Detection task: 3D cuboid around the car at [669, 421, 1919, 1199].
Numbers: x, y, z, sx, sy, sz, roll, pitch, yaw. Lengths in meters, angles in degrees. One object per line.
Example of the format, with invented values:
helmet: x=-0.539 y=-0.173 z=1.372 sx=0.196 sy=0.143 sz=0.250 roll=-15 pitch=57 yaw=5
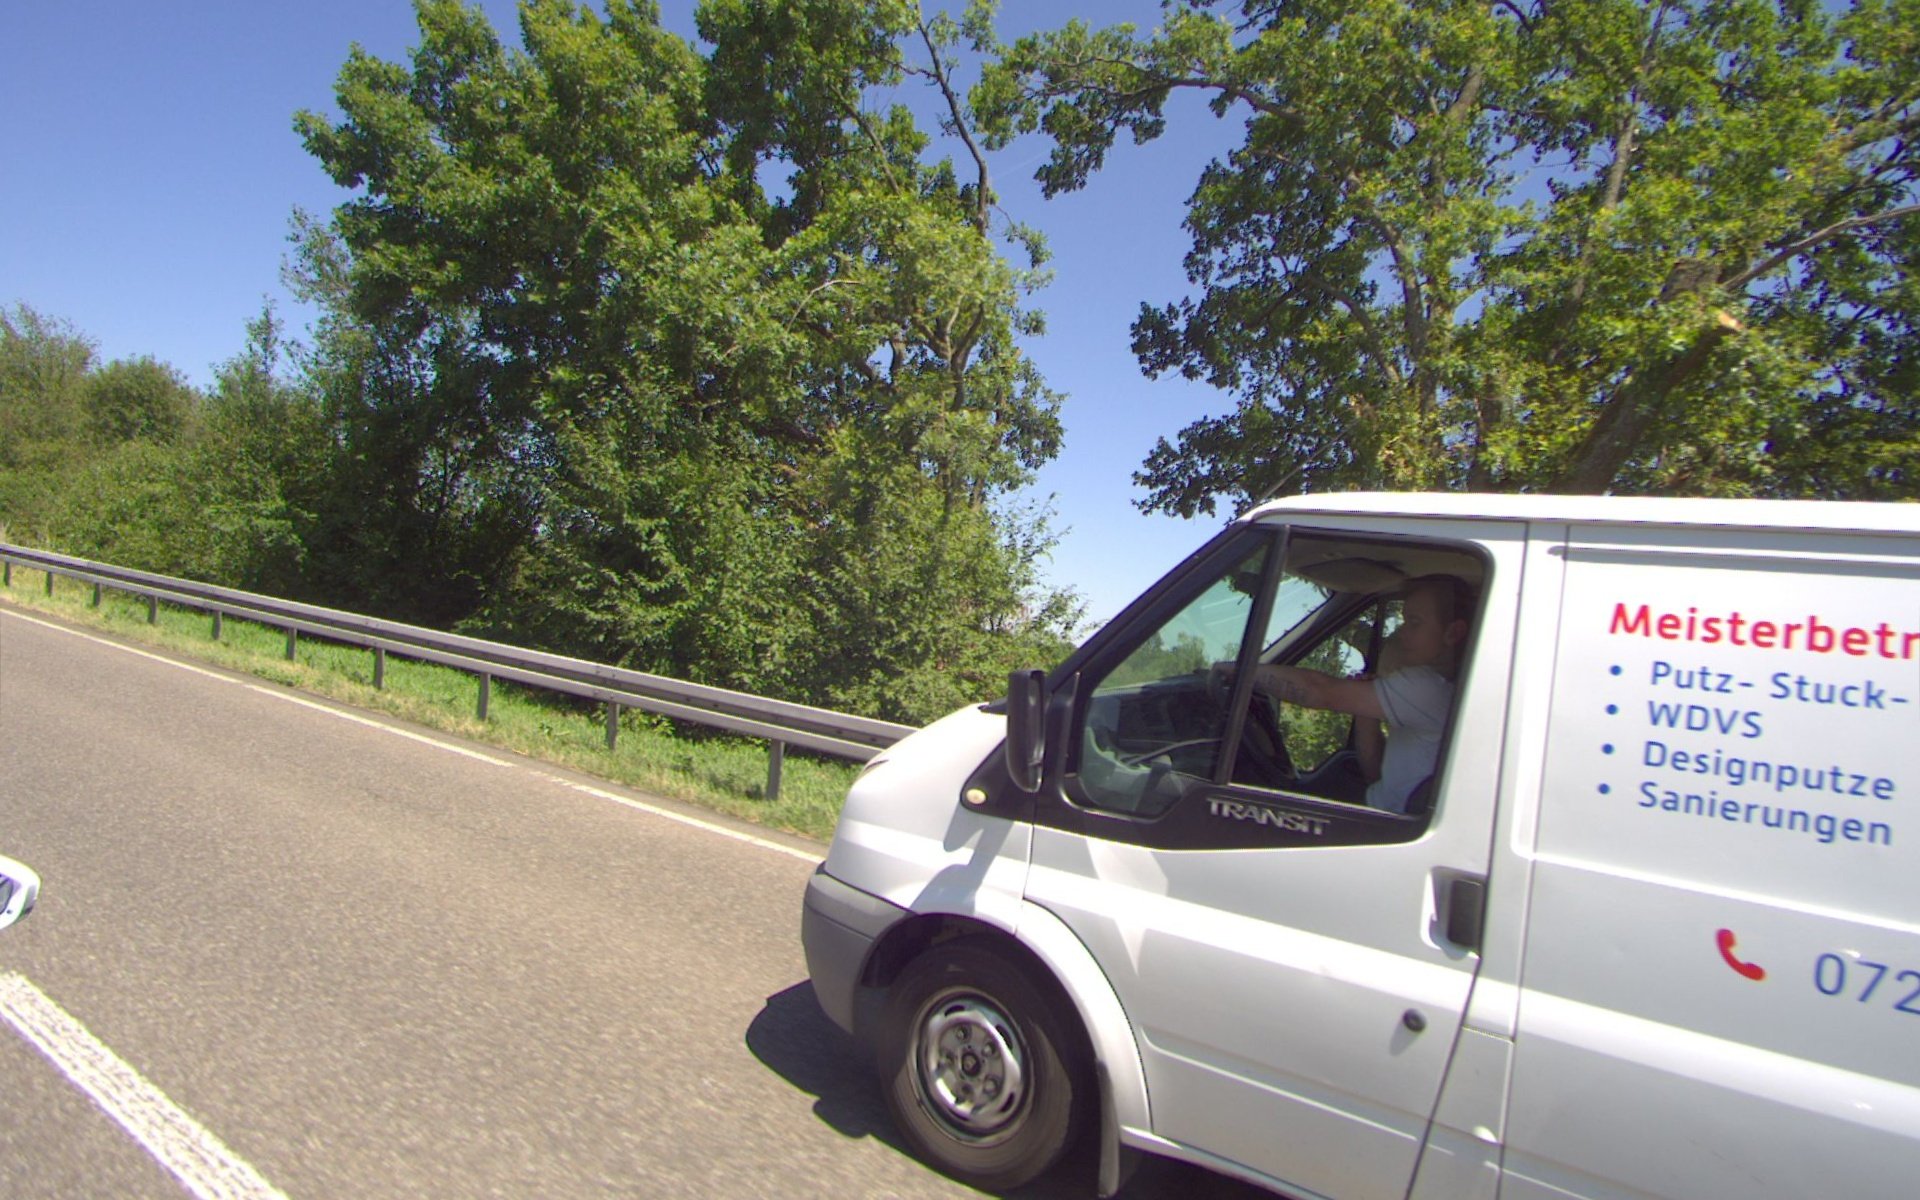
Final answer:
car: x=1.812 y=0.748 z=2.740 sx=4.949 sy=2.014 sz=2.008 roll=6 pitch=1 yaw=30
